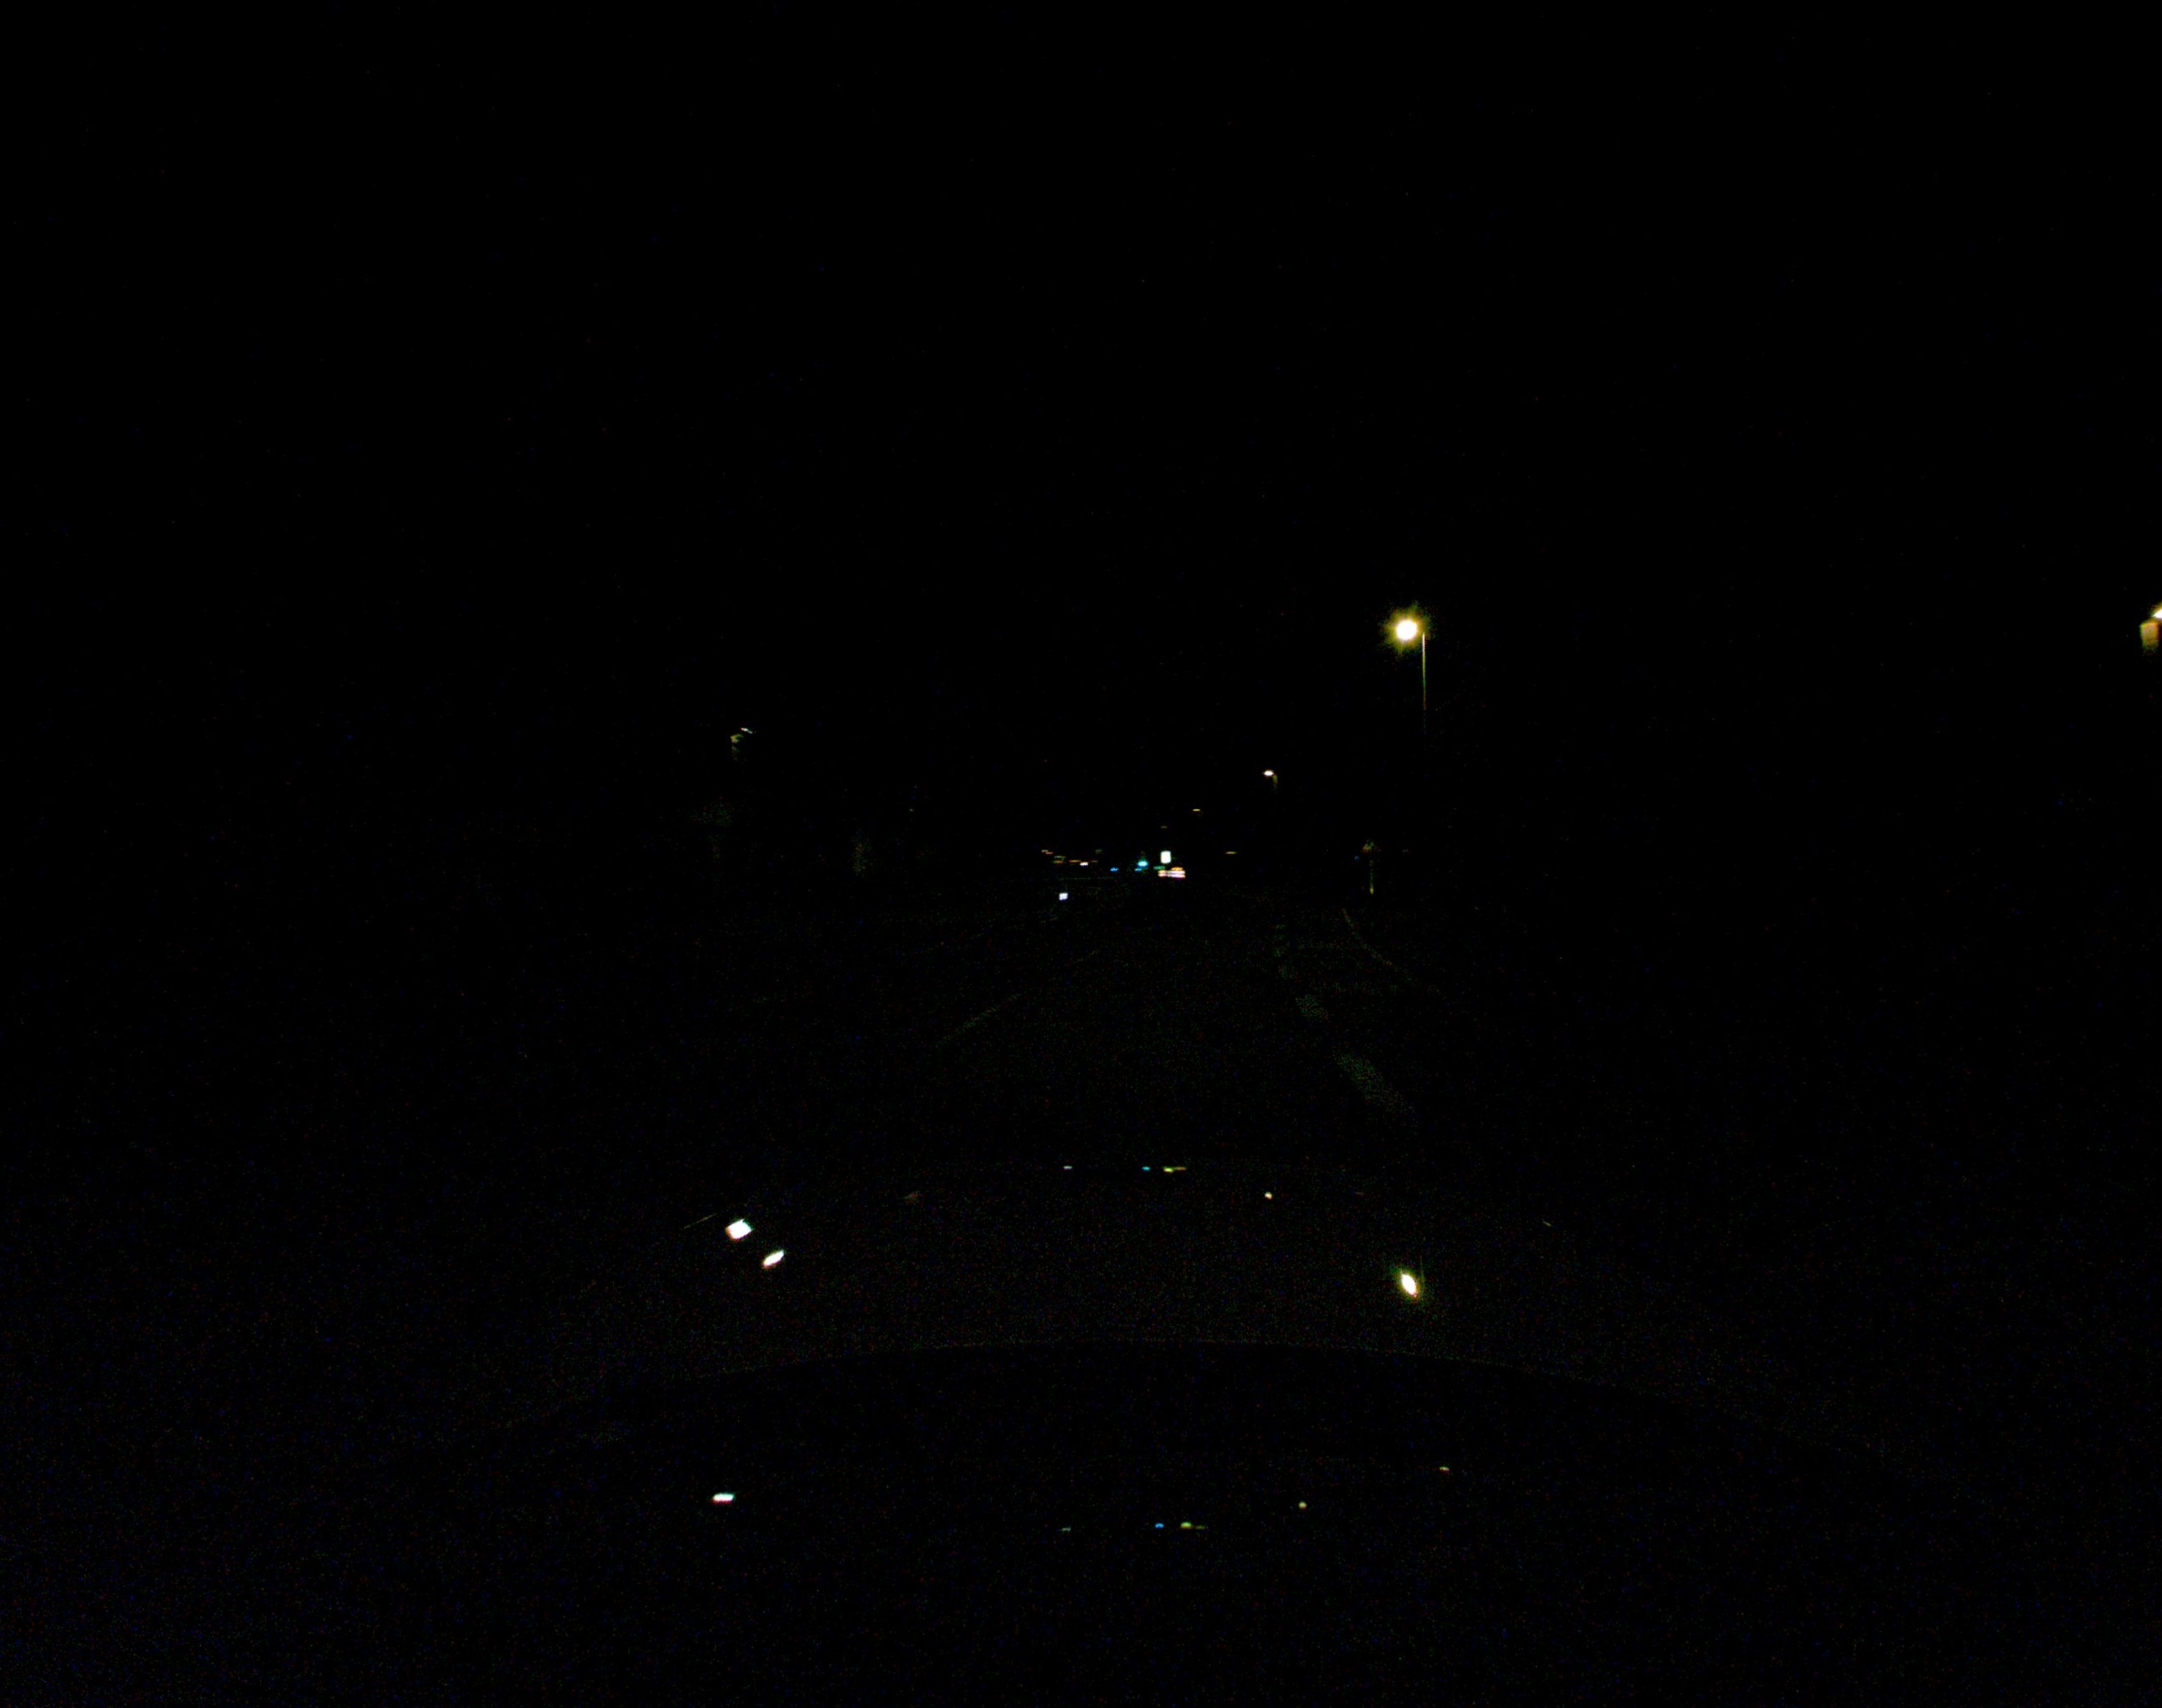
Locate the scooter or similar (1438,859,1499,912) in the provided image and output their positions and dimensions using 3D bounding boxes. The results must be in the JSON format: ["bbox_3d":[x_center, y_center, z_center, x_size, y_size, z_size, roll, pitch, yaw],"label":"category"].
[{"bbox_3d":[9.748,0.772,20.560,0.611,1.281,1.687,0,-1,-5],"label":"scooter or similar"}]

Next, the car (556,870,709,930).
[{"bbox_3d":[-13.172,1.346,23.983,3.685,1.627,1.790,-2,-1,15],"label":"car"}]
